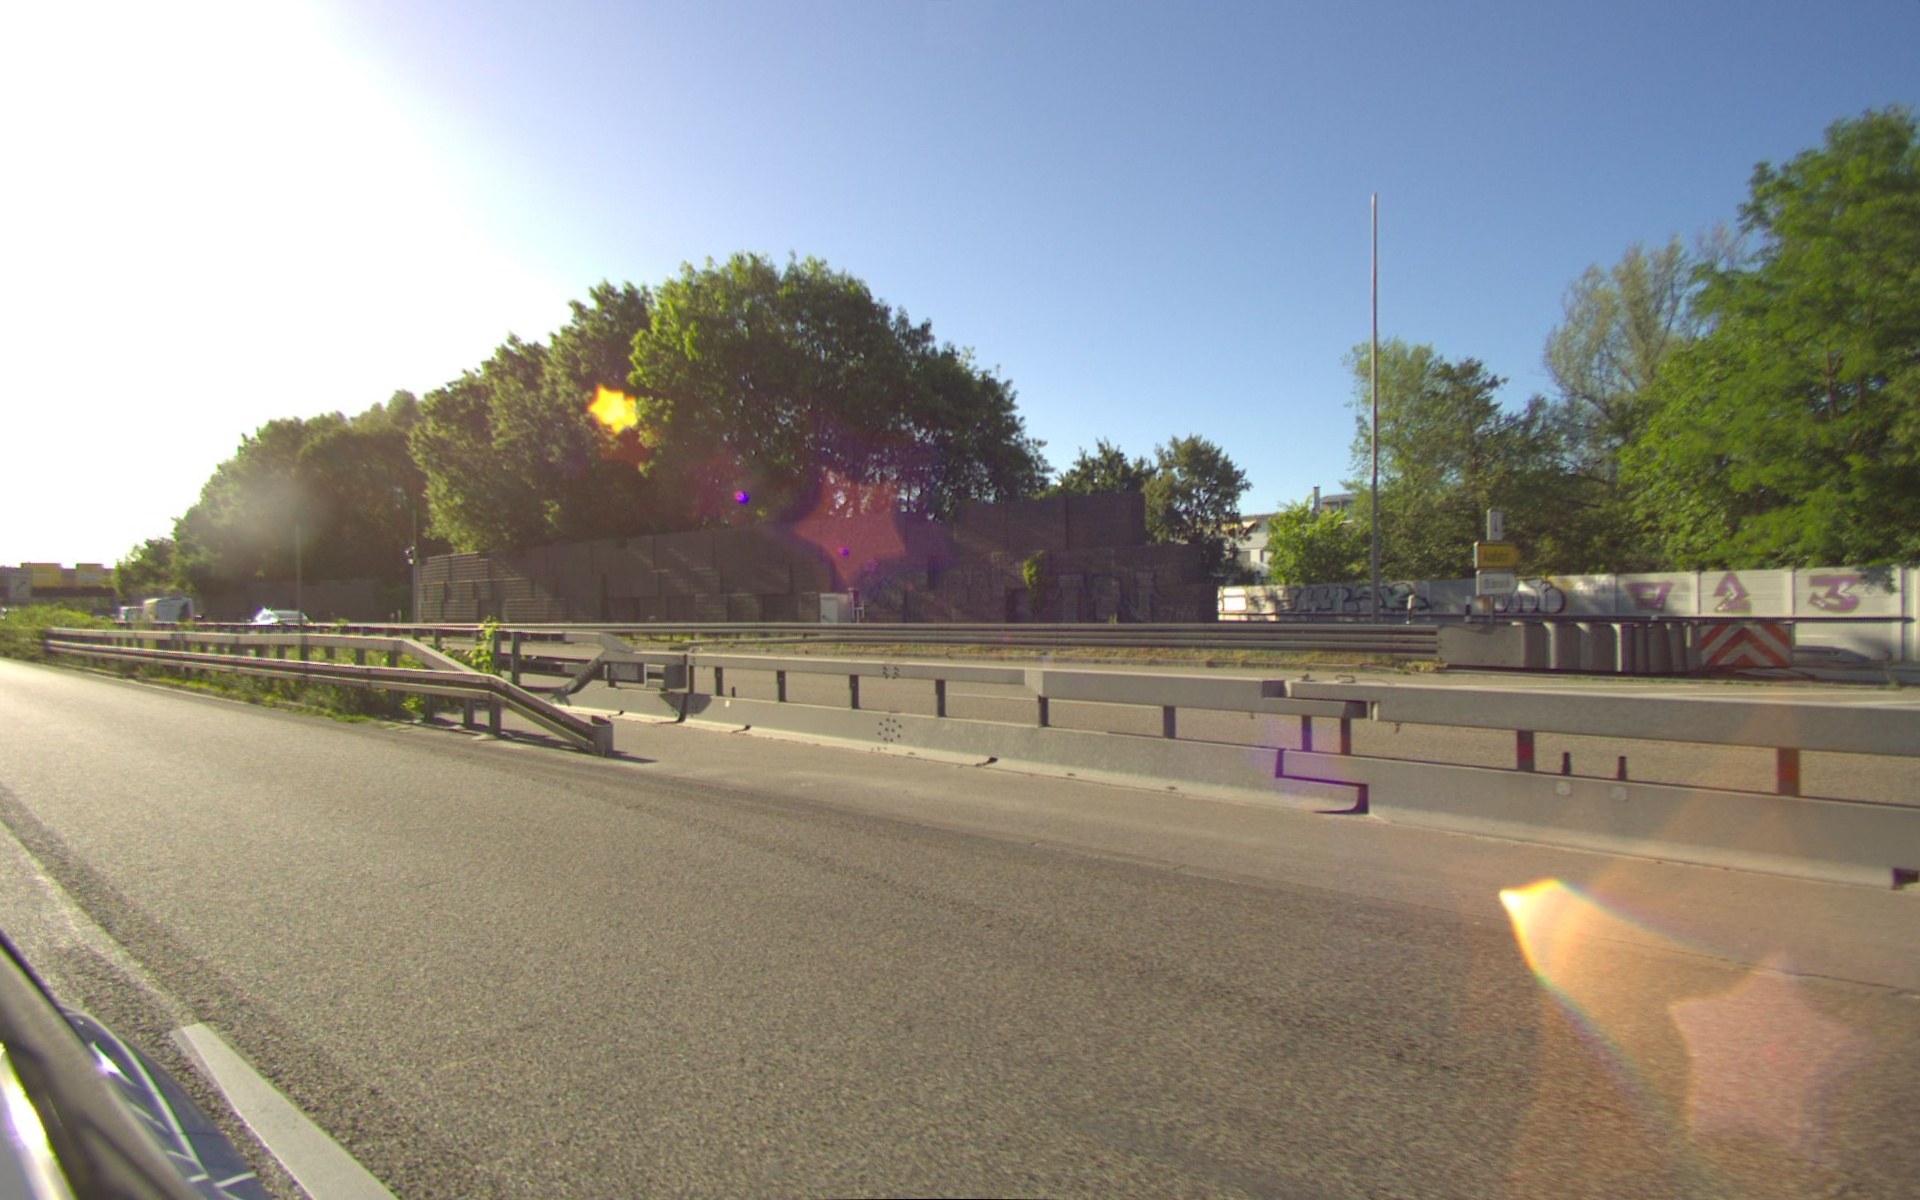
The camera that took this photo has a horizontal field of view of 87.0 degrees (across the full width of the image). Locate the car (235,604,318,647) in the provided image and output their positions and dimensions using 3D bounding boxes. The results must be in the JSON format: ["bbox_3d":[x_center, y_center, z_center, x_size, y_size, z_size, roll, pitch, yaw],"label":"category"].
[{"bbox_3d":[-31.000,1.163,45.858,4.784,1.796,1.972,-2,0,42],"label":"car"}]

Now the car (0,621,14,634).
[{"bbox_3d":[-110.791,3.216,116.788,4.619,1.491,1.803,-2,0,41],"label":"car"}]

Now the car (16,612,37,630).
[{"bbox_3d":[-150.027,3.372,162.596,2.097,2.703,6.591,-3,0,-45],"label":"car"}]

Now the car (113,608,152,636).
[{"bbox_3d":[-74.458,2.008,91.021,5.376,2.297,2.053,-2,0,44],"label":"car"}]

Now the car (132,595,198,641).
[{"bbox_3d":[-49.256,1.152,62.646,6.049,2.630,2.125,-2,0,41],"label":"car"}]

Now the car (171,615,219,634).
[{"bbox_3d":[-60.579,1.916,80.108,4.090,1.344,1.978,-2,0,37],"label":"car"}]
